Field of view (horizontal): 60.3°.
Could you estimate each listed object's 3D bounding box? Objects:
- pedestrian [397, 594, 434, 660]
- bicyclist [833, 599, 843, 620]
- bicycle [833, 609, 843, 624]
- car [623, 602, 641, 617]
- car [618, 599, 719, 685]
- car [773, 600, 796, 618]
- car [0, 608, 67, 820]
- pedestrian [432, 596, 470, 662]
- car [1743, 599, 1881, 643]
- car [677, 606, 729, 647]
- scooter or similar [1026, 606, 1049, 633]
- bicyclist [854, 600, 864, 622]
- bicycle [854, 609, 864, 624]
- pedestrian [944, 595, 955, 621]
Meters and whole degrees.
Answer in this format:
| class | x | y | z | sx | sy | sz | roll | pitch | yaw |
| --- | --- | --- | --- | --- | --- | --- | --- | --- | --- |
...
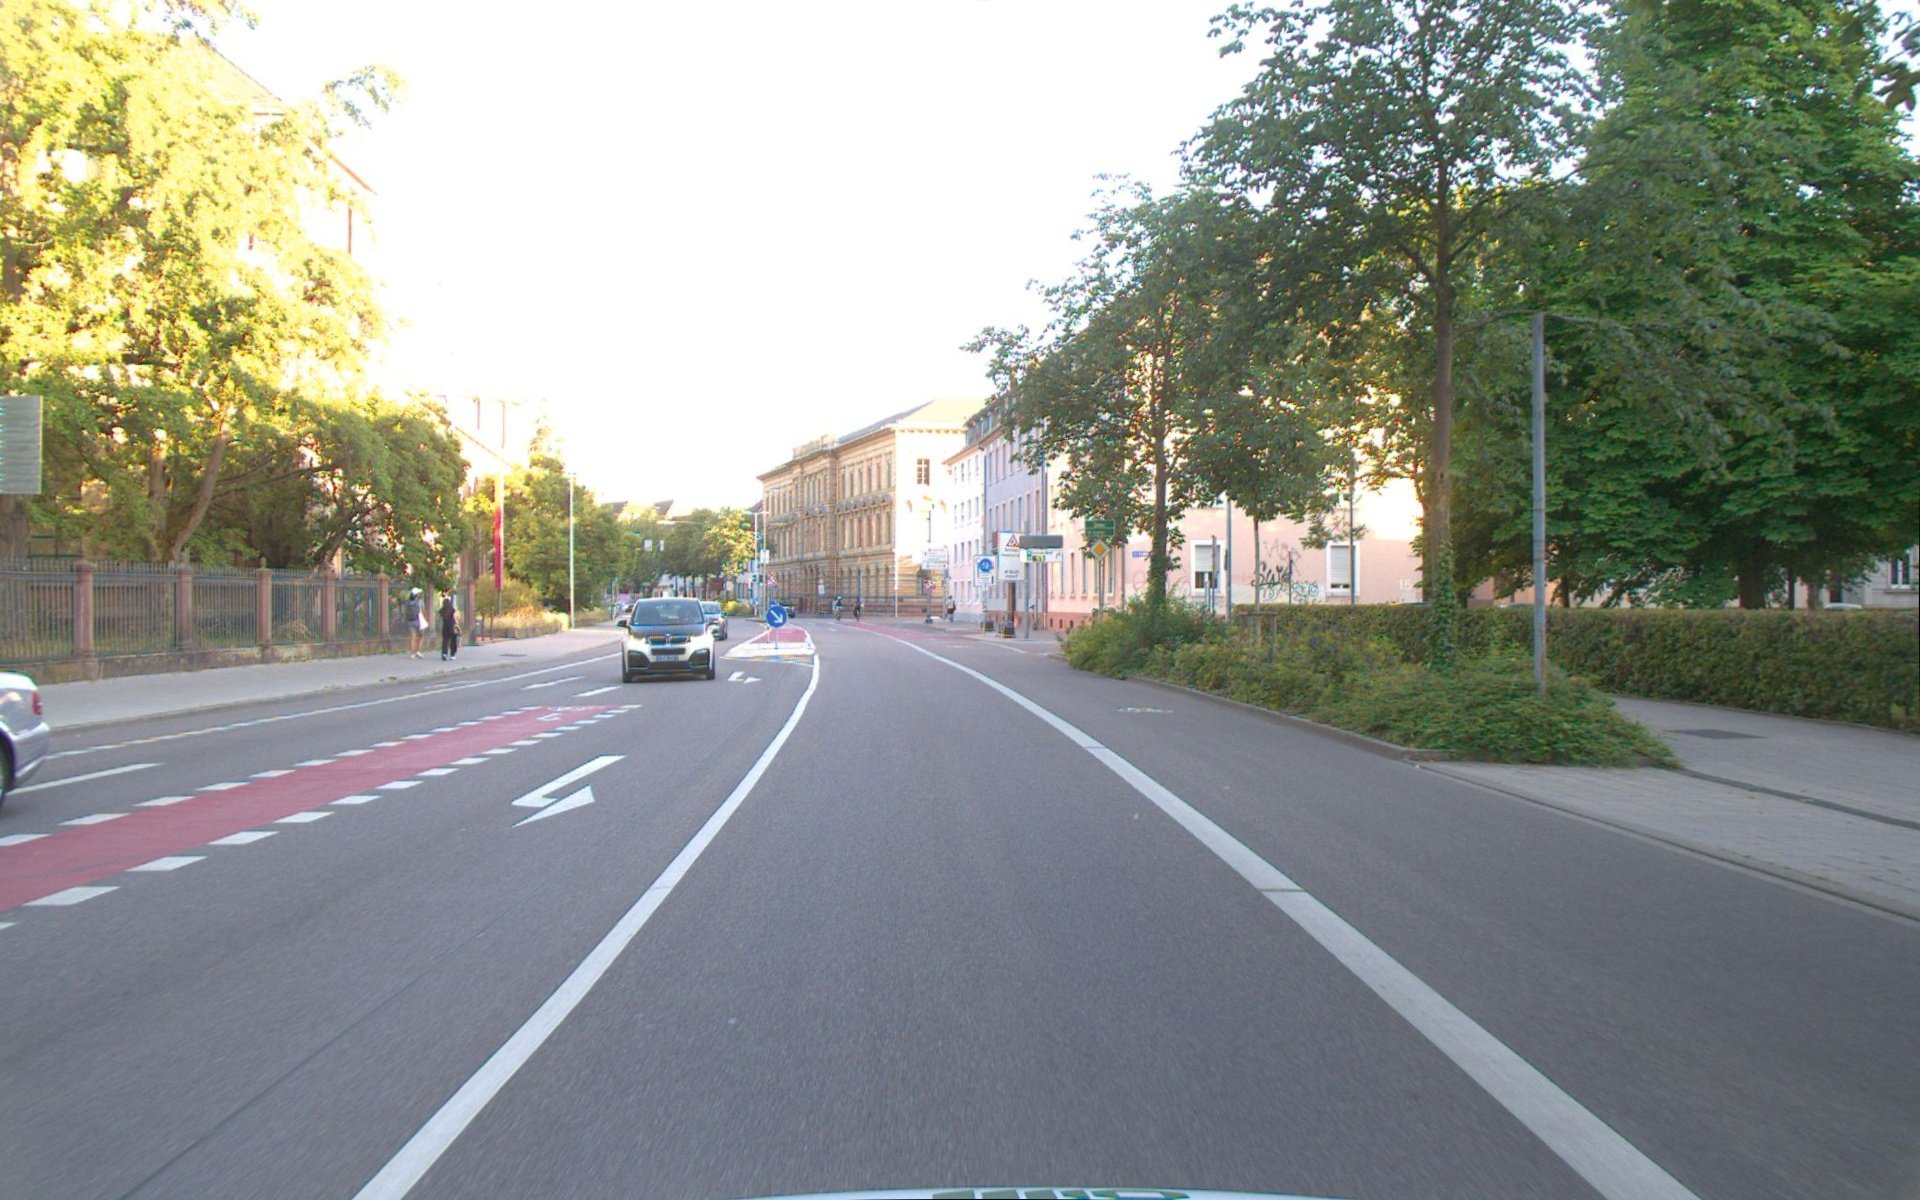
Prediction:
| class | x | y | z | sx | sy | sz | roll | pitch | yaw |
| --- | --- | --- | --- | --- | --- | --- | --- | --- | --- |
| pedestrian | -13.725 | 0.671 | 41.698 | 0.666 | 1.651 | 0.689 | 0 | 0 | 3 |
| bicyclist | -8.686 | 0.704 | 118.137 | 0.639 | 1.471 | 0.878 | 2 | 0 | -4 |
| bicycle | -8.710 | 1.199 | 118.143 | 0.639 | 1.033 | 2.196 | 2 | 0 | -4 |
| car | -37.735 | 1.072 | 190.044 | 1.959 | 1.613 | 3.987 | 0 | 0 | -12 |
| car | -5.695 | 0.773 | 32.637 | 1.814 | 1.553 | 3.992 | -1 | 0 | -8 |
| car | -15.238 | 0.798 | 143.494 | 1.832 | 1.536 | 3.994 | 1 | 0 | -7 |
| car | -7.507 | 0.816 | 9.781 | 1.877 | 1.442 | 4.769 | -2 | 0 | -1 |
| pedestrian | -12.833 | 0.732 | 41.703 | 0.666 | 1.651 | 0.689 | 0 | 0 | 9 |
| car | 31.913 | 0.778 | 62.015 | 4.154 | 1.507 | 1.871 | -2 | 0 | 0 |
| car | -9.826 | 0.974 | 62.960 | 1.802 | 1.464 | 3.989 | -2 | 0 | -11 |
| scooter or similar | 3.884 | 0.968 | 82.778 | 0.618 | 1.360 | 2.394 | 0 | 0 | -10 |
| bicyclist | -7.193 | 0.767 | 118.103 | 0.639 | 1.501 | 0.940 | 2 | 0 | -4 |
| bicycle | -7.218 | 1.193 | 118.096 | 0.639 | 1.033 | 2.196 | 2 | 0 | -4 |
| pedestrian | -0.714 | 0.535 | 112.688 | 0.746 | 1.785 | 0.845 | 0 | 0 | 0 |
